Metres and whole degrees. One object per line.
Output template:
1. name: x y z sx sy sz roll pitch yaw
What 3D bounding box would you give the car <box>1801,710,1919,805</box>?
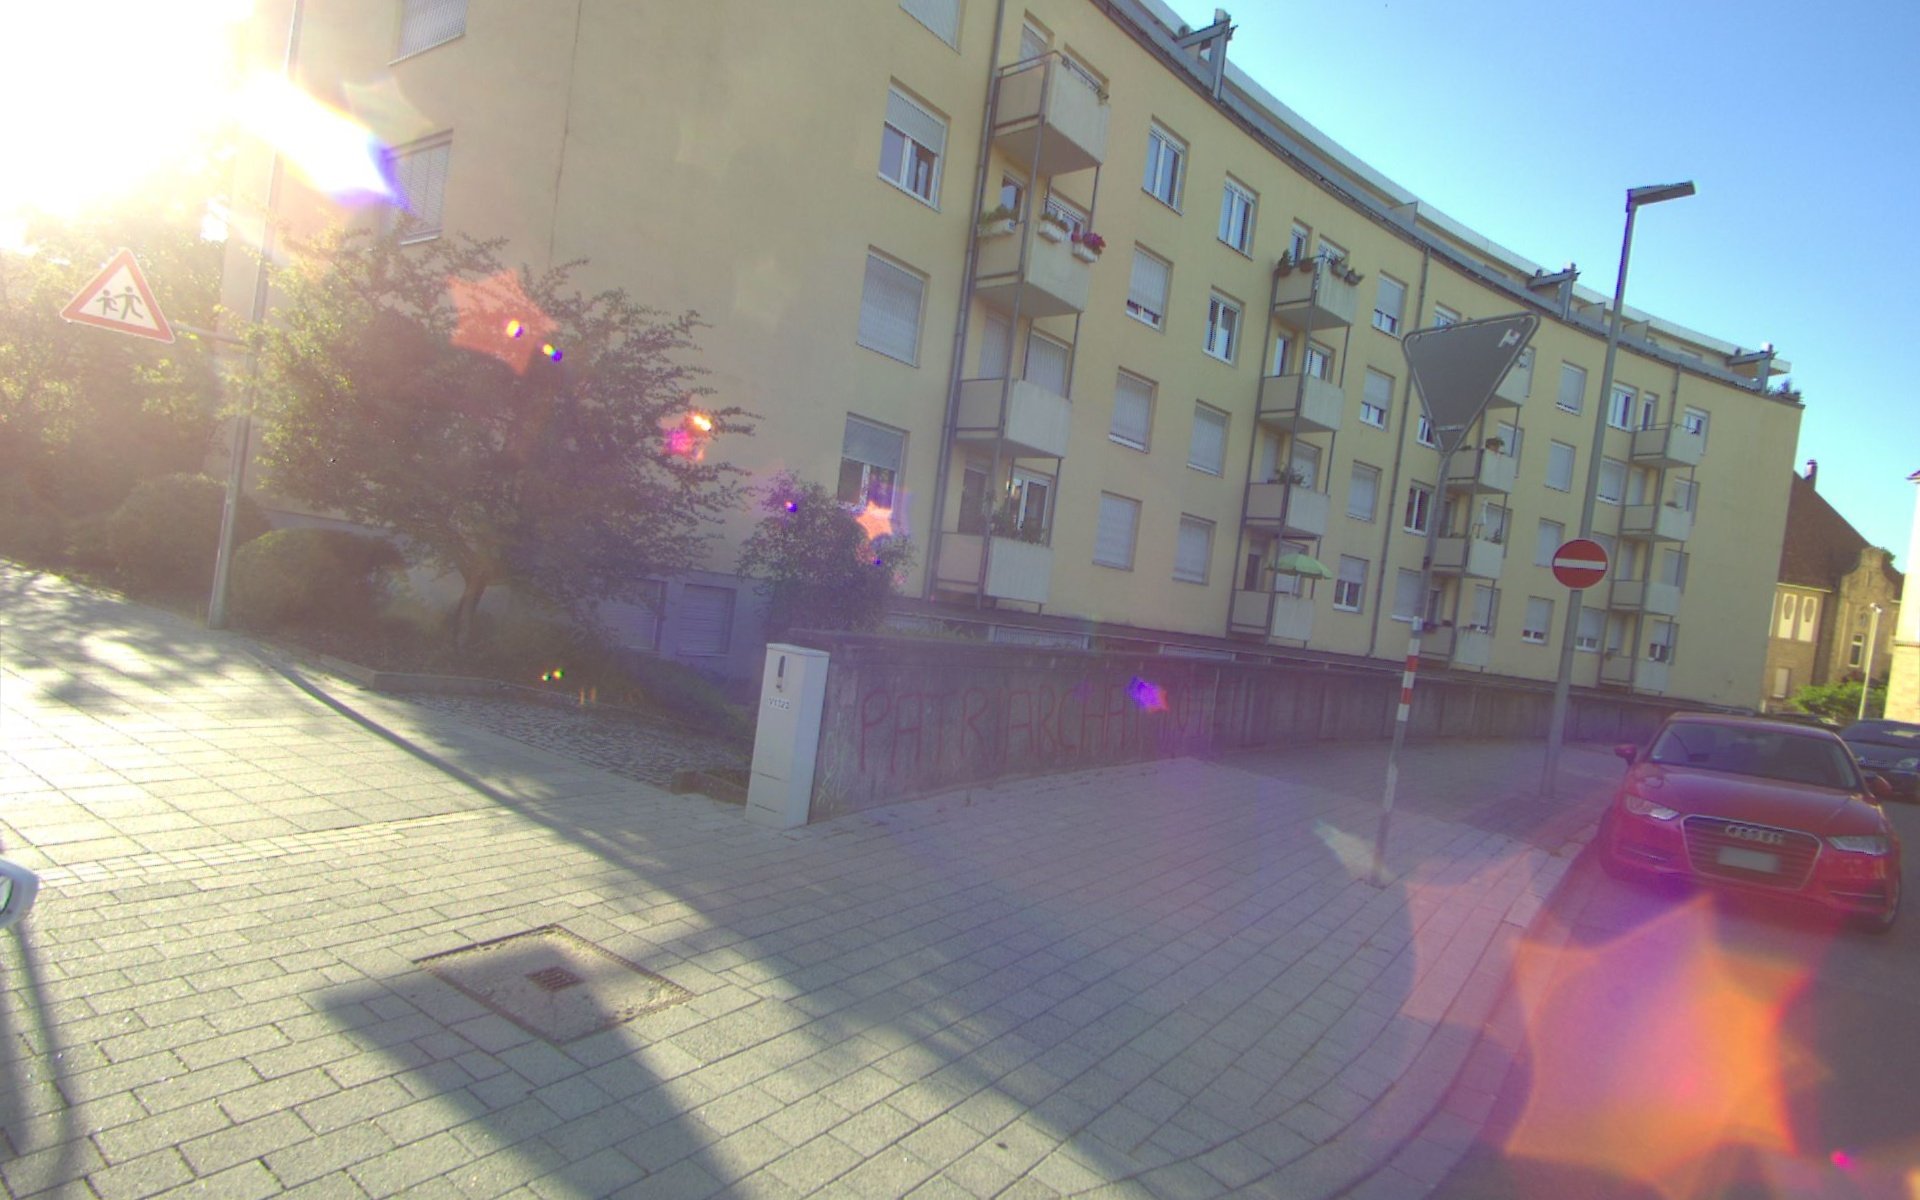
1. car: 19.587 3.324 21.103 4.005 1.596 1.693 7 -1 -32

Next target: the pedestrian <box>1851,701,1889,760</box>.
1. pedestrian: 26.687 3.820 29.502 0.520 1.612 0.503 8 1 -28

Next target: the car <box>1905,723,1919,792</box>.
1. car: 24.705 3.977 24.216 4.003 1.596 1.694 7 -1 -30

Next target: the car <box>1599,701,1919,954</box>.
1. car: 6.809 1.733 8.786 1.762 1.437 4.035 6 -2 36

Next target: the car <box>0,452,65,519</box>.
1. car: -27.616 -3.411 28.207 1.620 1.662 3.489 8 0 41
